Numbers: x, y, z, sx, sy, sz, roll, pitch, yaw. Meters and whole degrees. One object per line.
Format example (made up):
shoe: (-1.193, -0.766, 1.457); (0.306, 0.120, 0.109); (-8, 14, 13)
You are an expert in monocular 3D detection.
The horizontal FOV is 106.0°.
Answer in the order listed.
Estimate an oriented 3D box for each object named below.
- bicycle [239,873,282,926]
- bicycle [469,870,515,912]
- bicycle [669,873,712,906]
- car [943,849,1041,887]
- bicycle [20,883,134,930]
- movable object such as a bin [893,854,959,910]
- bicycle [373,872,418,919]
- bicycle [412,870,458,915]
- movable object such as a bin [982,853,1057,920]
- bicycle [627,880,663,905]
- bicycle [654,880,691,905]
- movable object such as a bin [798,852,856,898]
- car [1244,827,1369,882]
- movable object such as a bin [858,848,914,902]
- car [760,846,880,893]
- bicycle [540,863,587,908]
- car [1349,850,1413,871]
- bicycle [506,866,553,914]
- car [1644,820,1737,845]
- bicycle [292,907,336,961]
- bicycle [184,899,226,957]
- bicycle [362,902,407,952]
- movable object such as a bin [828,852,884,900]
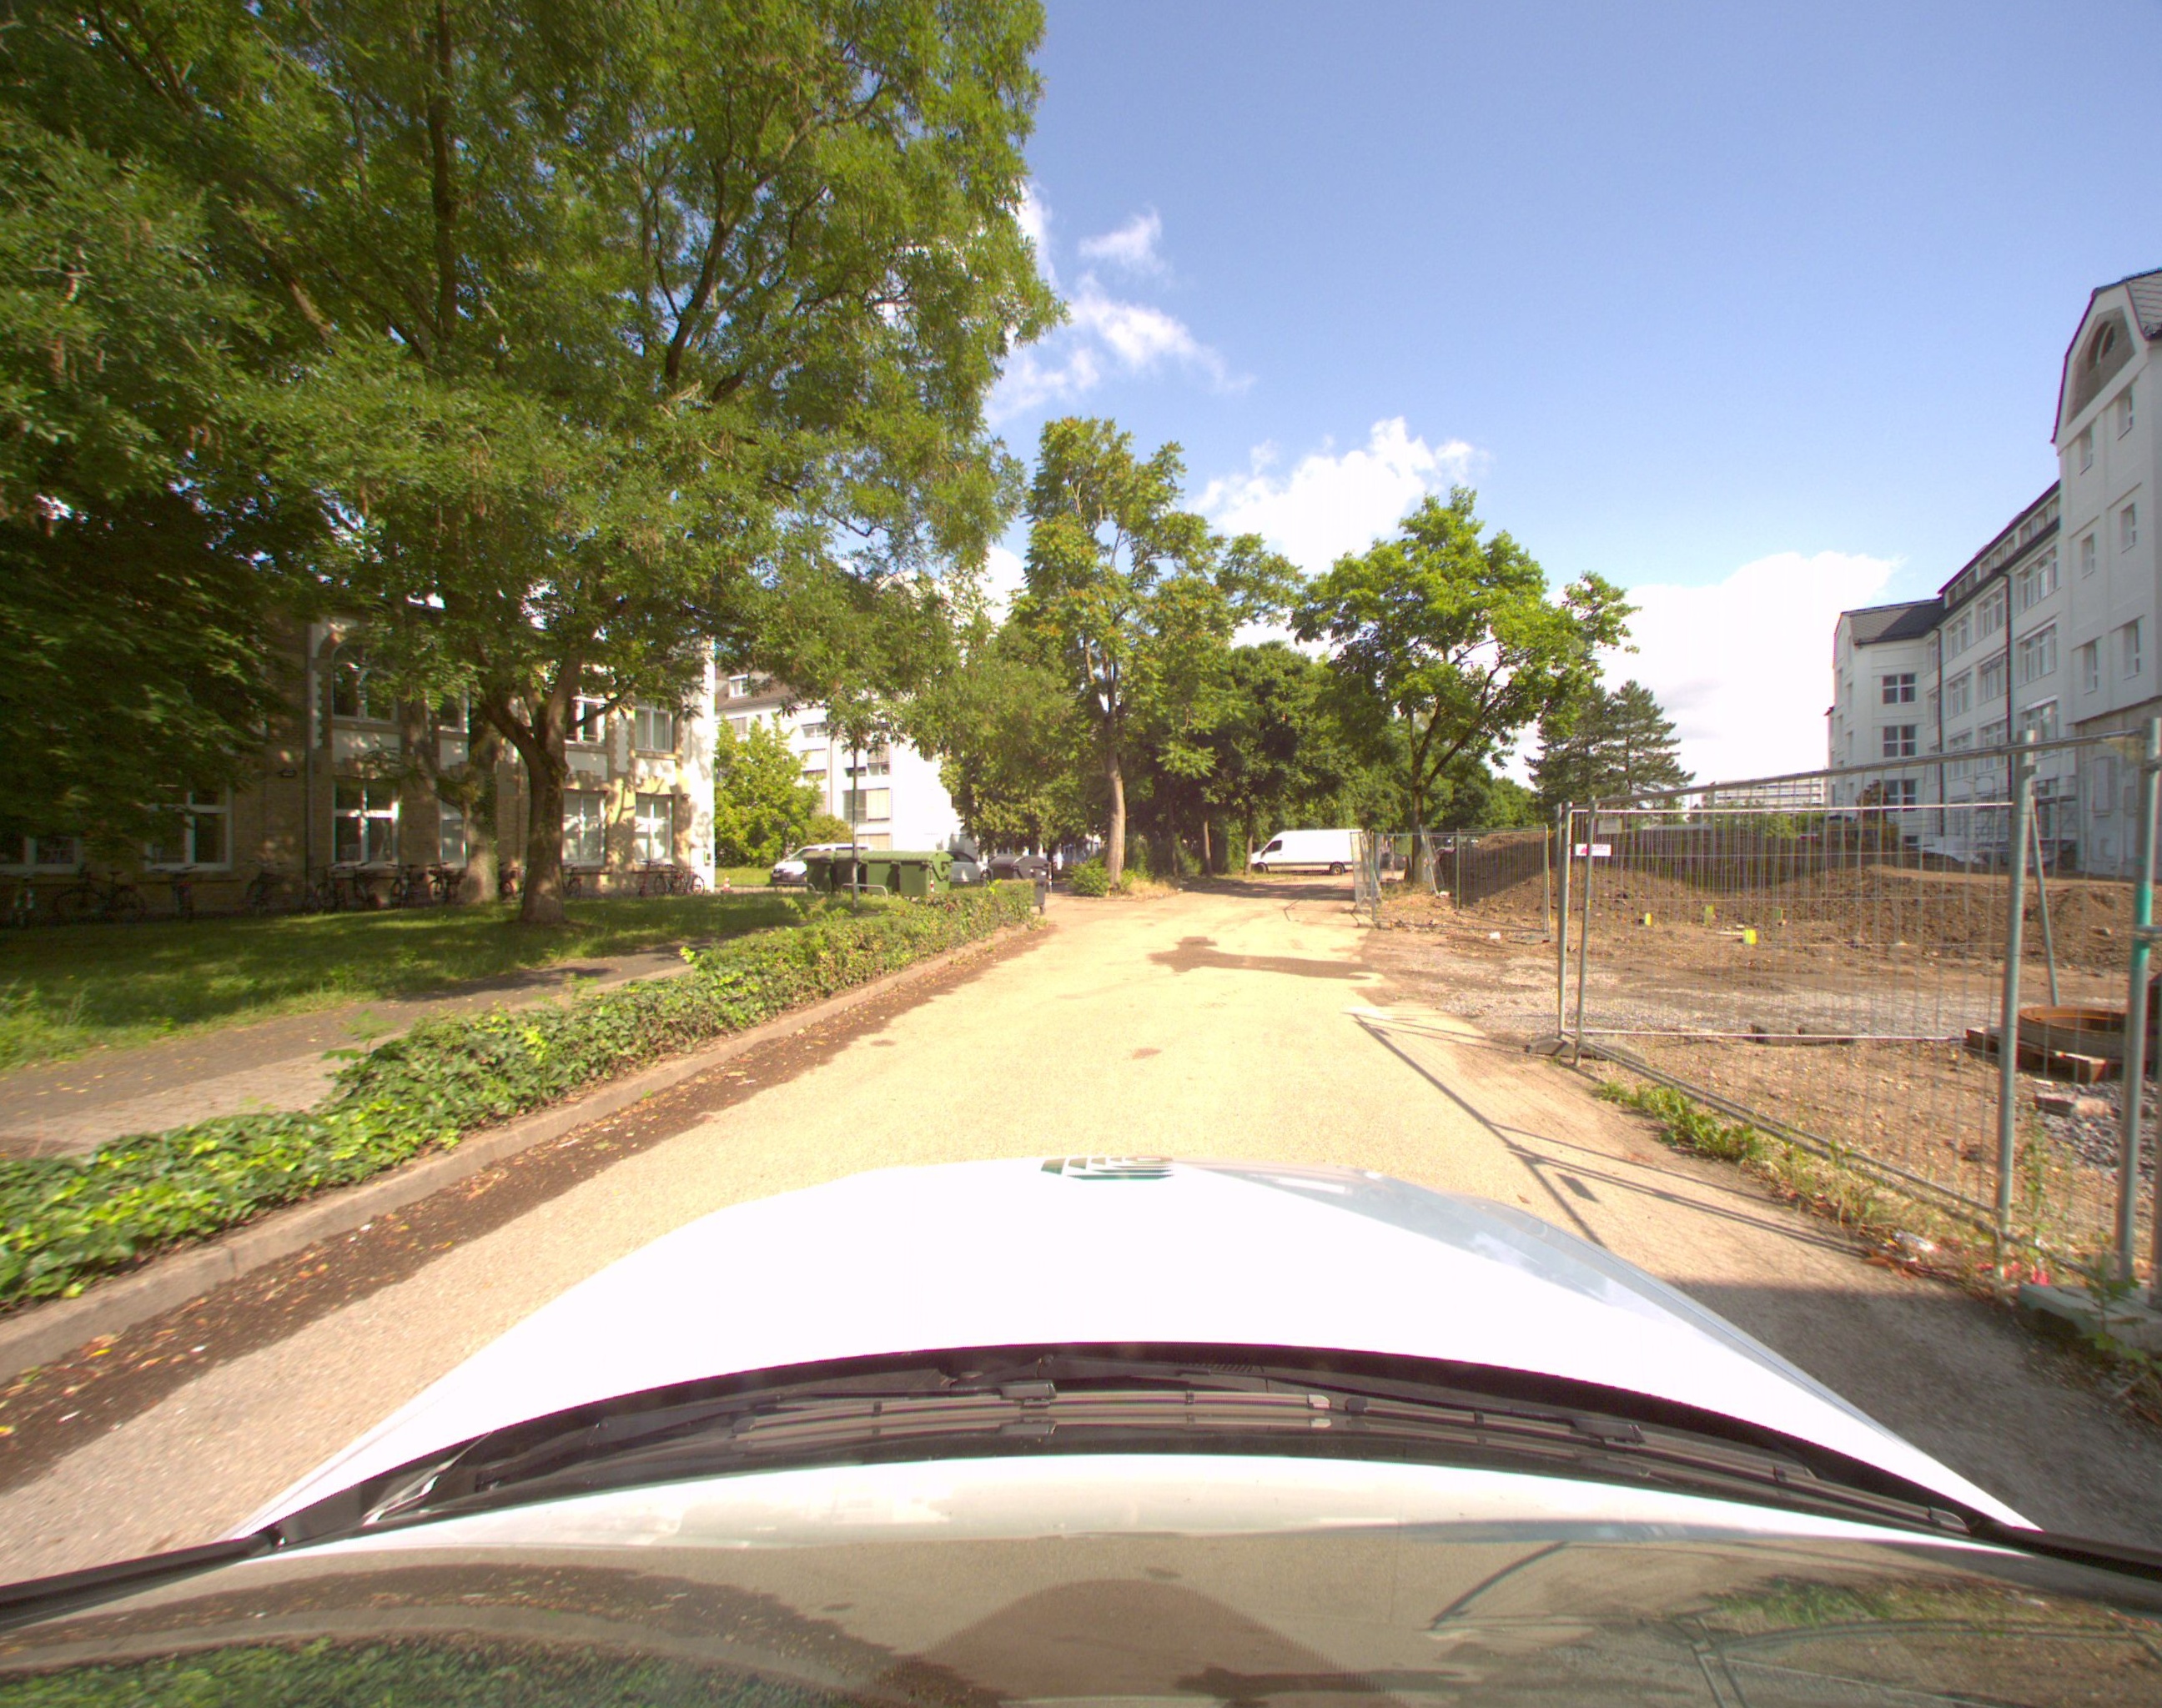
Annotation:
bicycle: (-17.744, 0.952, 17.604); (2.040, 1.056, 0.422); (0, 1, 39)
bicycle: (-15.403, 0.949, 21.264); (2.040, 1.056, 0.422); (0, -2, 39)
bicycle: (-12.331, 1.111, 25.686); (1.835, 1.037, 0.322); (-1, -3, 34)
car: (-3.511, 0.532, 32.762); (1.736, 1.420, 3.942); (-1, 0, 35)
bicycle: (-20.128, 1.039, 16.354); (0.414, 0.820, 1.402); (-1, 1, 37)
movable object such as a bin: (-4.208, 0.755, 22.147); (1.326, 1.452, 1.109); (0, -2, 25)
bicycle: (-16.593, 0.977, 19.689); (2.040, 1.056, 0.422); (0, 1, 39)
bicycle: (-16.107, 0.947, 20.293); (2.040, 1.056, 0.422); (0, -2, 39)
movable object such as a bin: (-1.484, 0.773, 19.606); (1.255, 1.482, 1.282); (3, 0, -35)
bicycle: (-13.256, 1.169, 24.719); (1.836, 0.705, 0.322); (0, -2, 41)
bicycle: (-12.678, 1.181, 25.249); (1.836, 0.705, 0.322); (0, -2, 41)
movable object such as a bin: (-7.630, 0.625, 24.515); (1.364, 1.349, 0.952); (0, -2, 29)
car: (13.172, -0.022, 47.659); (6.895, 3.047, 2.010); (1, 0, 19)
movable object such as a bin: (-5.460, 0.584, 22.825); (1.218, 1.452, 0.885); (0, -2, 29)
car: (-11.892, 0.668, 37.440); (1.974, 1.965, 4.987); (-3, -2, 37)
bicycle: (-14.390, 0.859, 22.629); (2.040, 1.215, 0.422); (0, -2, 39)
car: (21.430, 0.482, 58.156); (3.948, 1.428, 1.856); (0, -2, 32)
bicycle: (-14.947, 0.958, 22.037); (2.041, 1.122, 0.422); (4, 1, 39)
car: (39.662, -1.379, 53.127); (4.806, 1.428, 1.856); (0, -2, 37)
bicycle: (-17.357, 1.778, 18.412); (2.040, 1.056, 0.422); (0, 1, 39)
bicycle: (-18.374, 1.519, 17.073); (2.040, 1.056, 0.422); (0, 1, 39)
bicycle: (-16.749, 1.721, 19.557); (2.040, 1.056, 0.422); (0, 1, 39)
movable object such as a bin: (-6.525, 0.643, 23.602); (1.218, 1.349, 0.952); (0, -2, 29)
